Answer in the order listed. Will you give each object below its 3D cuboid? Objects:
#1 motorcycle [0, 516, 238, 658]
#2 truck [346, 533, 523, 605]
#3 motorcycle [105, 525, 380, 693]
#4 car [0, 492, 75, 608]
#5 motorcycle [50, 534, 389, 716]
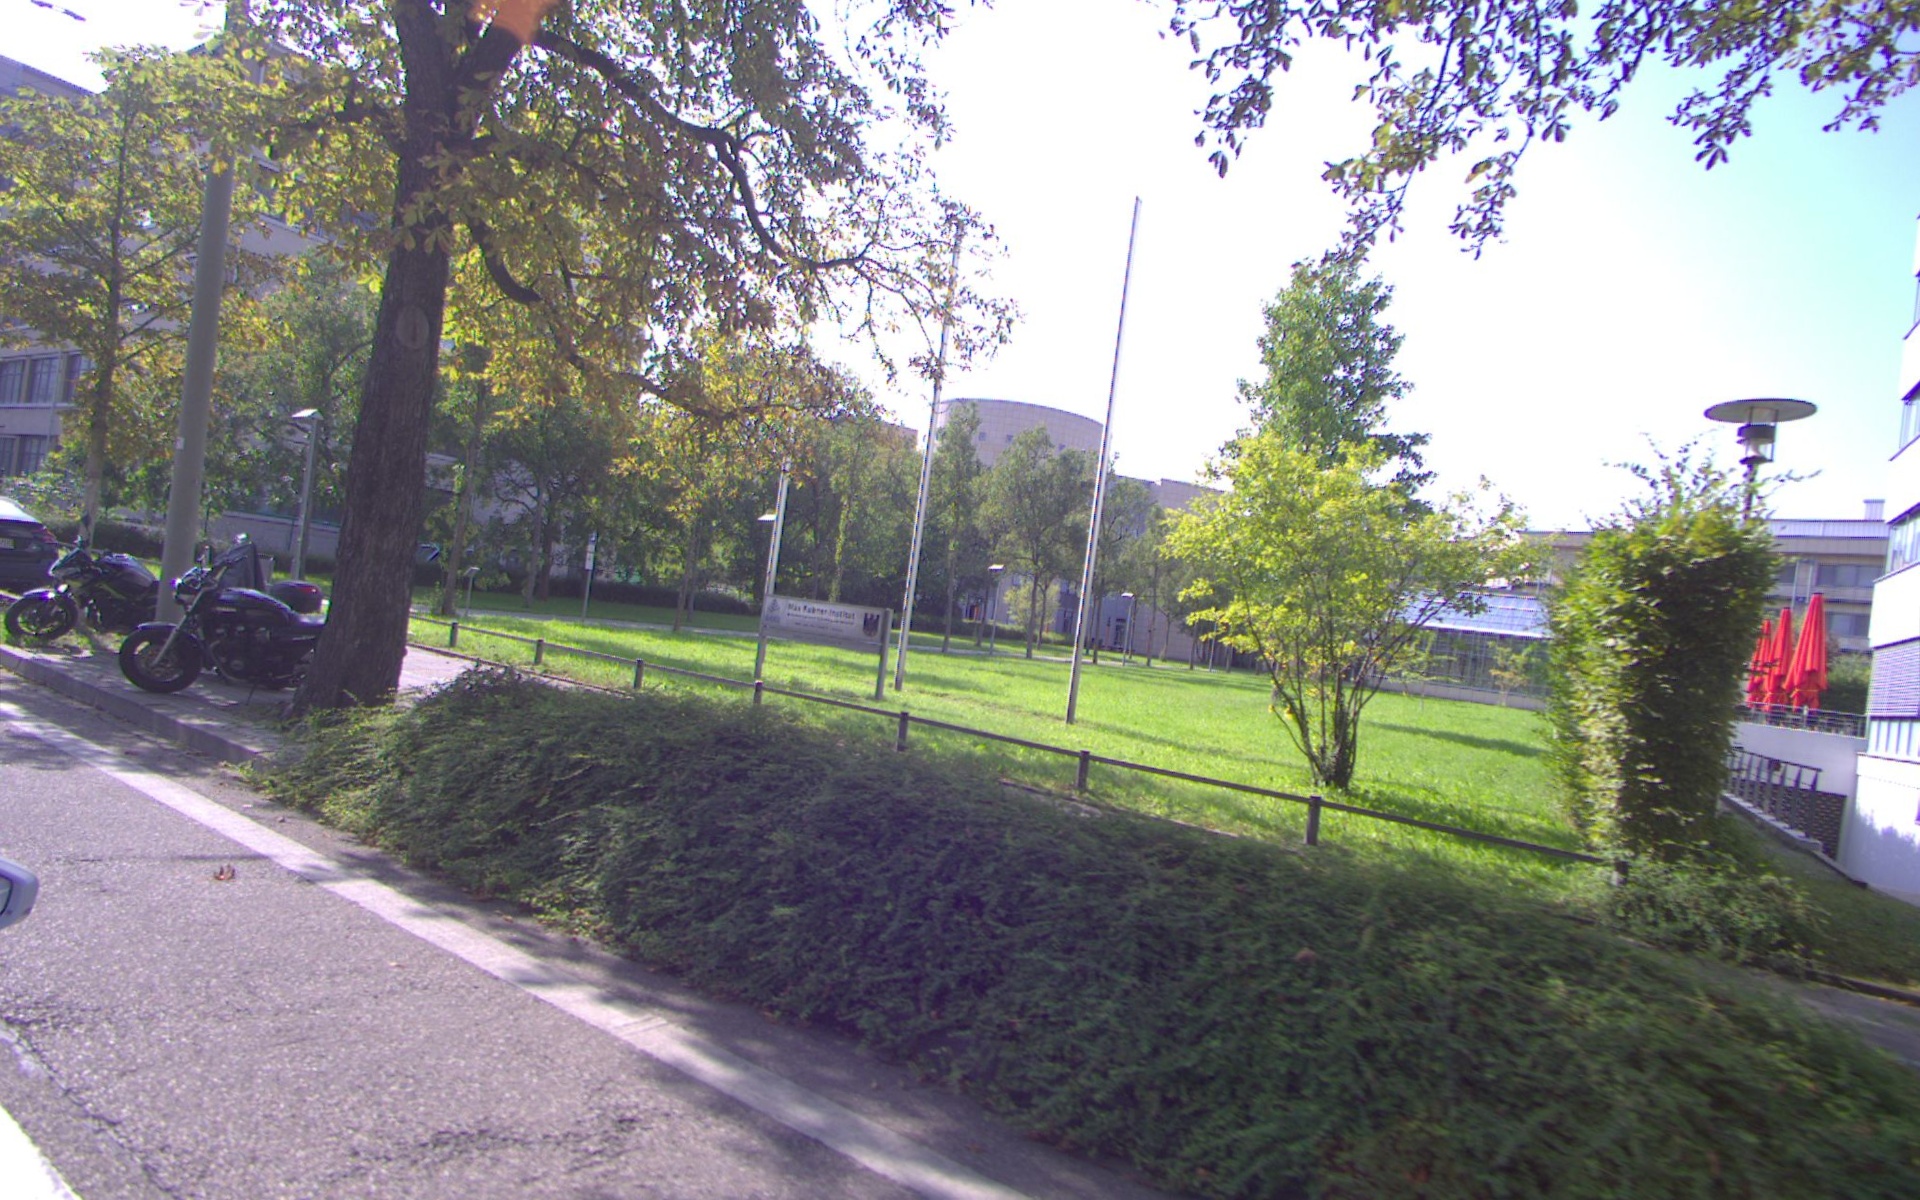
[{"bbox_3d":[-9.084,-0.120,10.828,1.970,1.239,0.640,8,-1,-33],"label":"motorcycle"},{"bbox_3d":[-23.067,-1.306,44.500,2.087,2.241,6.576,7,-2,33],"label":"truck"},{"bbox_3d":[-7.011,0.087,9.894,2.028,1.344,0.845,7,1,4],"label":"motorcycle"},{"bbox_3d":[-14.888,-0.922,14.643,4.363,1.504,1.743,7,1,32],"label":"car"},{"bbox_3d":[-6.116,0.219,8.474,2.037,1.258,0.841,7,0,-19],"label":"motorcycle"}]
